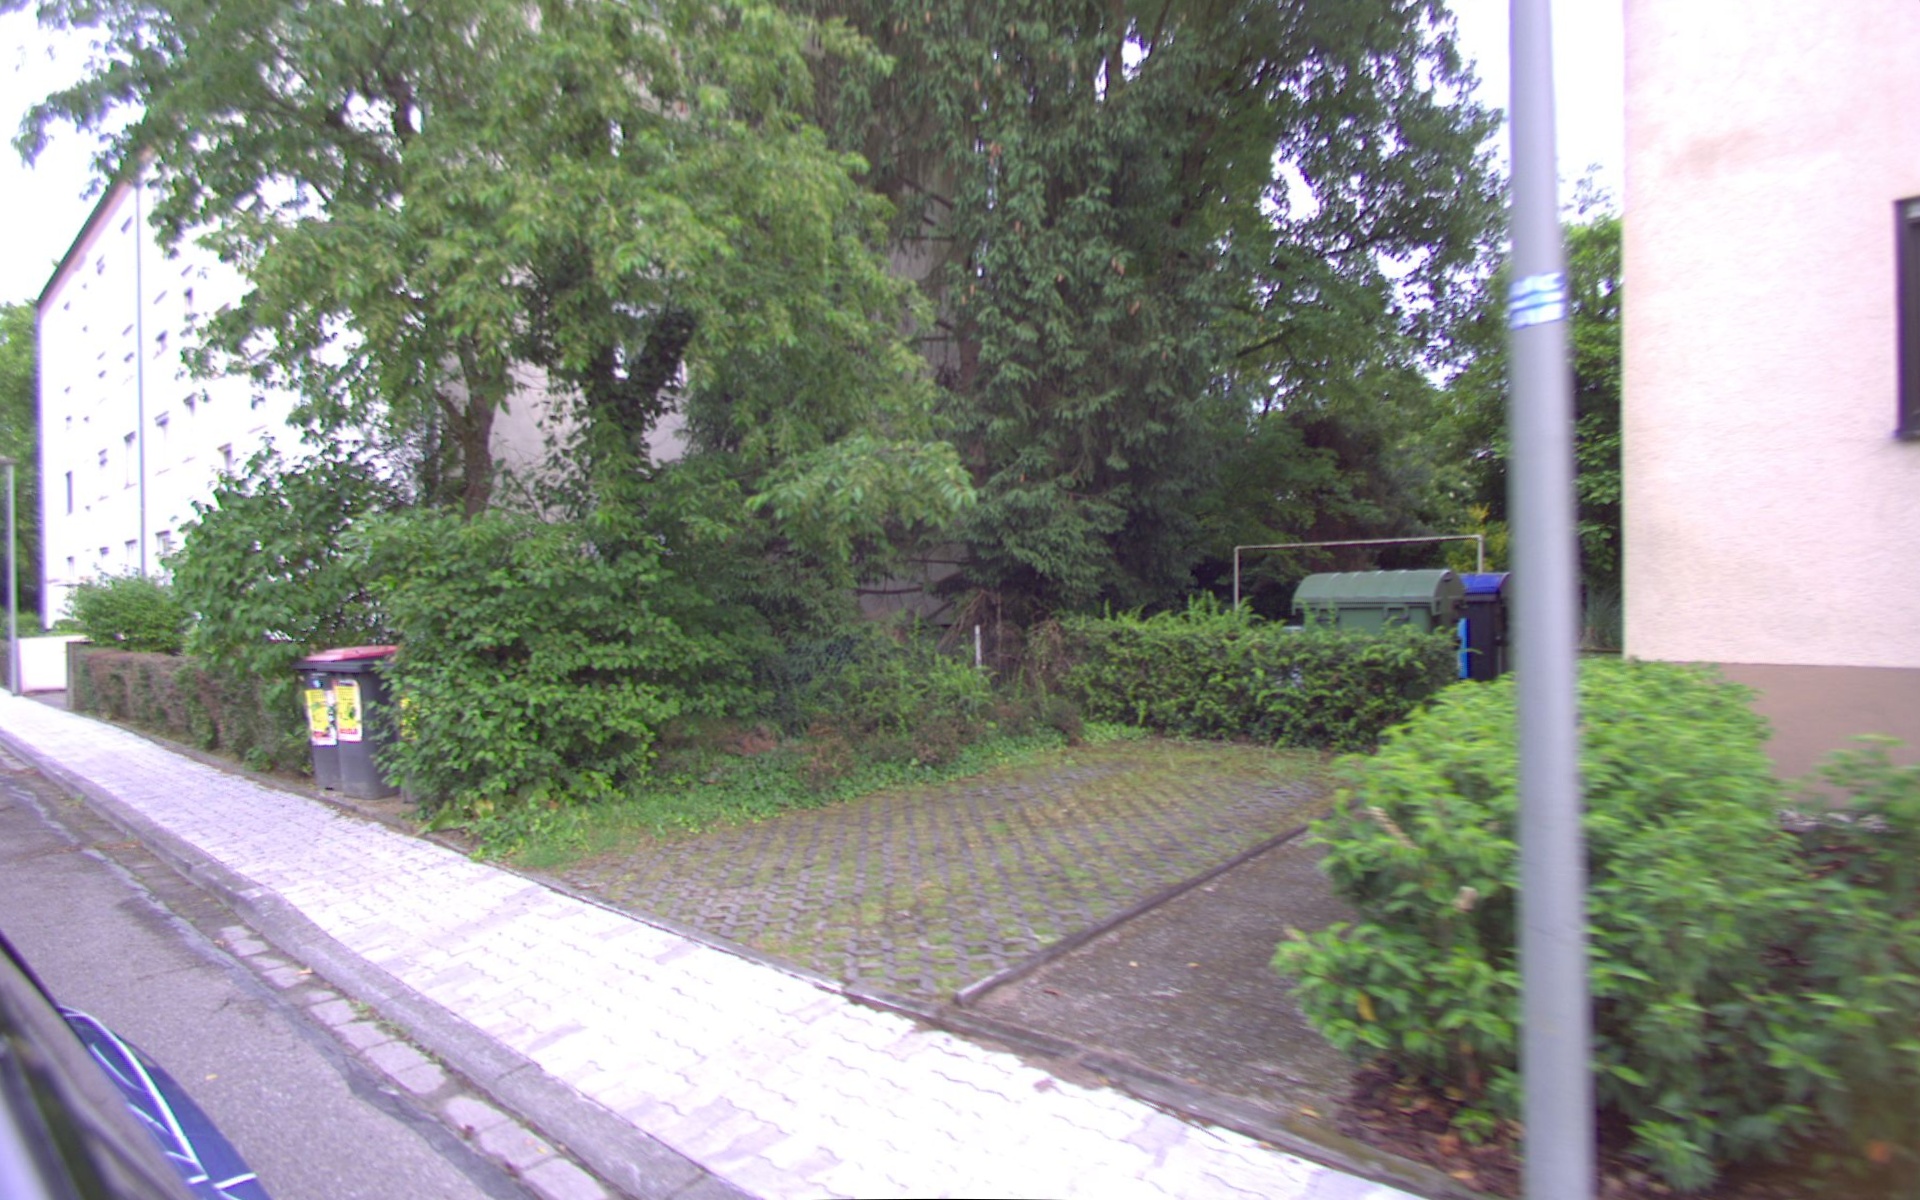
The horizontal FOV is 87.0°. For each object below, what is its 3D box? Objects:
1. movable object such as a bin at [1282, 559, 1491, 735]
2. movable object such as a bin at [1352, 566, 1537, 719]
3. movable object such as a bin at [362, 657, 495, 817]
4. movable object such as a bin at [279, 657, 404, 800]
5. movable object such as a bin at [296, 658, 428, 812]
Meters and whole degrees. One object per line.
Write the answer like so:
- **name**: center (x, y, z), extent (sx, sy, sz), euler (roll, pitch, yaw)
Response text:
- **movable object such as a bin**: center (3.861, 0.407, 9.184), extent (1.478, 1.446, 1.093), euler (-2, -2, 40)
- **movable object such as a bin**: center (4.996, 0.422, 10.446), extent (1.478, 1.446, 1.093), euler (-2, -2, 40)
- **movable object such as a bin**: center (-3.667, 0.918, 7.010), extent (0.534, 1.030, 0.592), euler (-1, -3, 22)
- **movable object such as a bin**: center (-4.724, 0.955, 7.748), extent (0.534, 1.030, 0.592), euler (-1, -3, 22)
- **movable object such as a bin**: center (-4.265, 0.938, 7.242), extent (0.534, 1.030, 0.592), euler (-1, -3, 22)
